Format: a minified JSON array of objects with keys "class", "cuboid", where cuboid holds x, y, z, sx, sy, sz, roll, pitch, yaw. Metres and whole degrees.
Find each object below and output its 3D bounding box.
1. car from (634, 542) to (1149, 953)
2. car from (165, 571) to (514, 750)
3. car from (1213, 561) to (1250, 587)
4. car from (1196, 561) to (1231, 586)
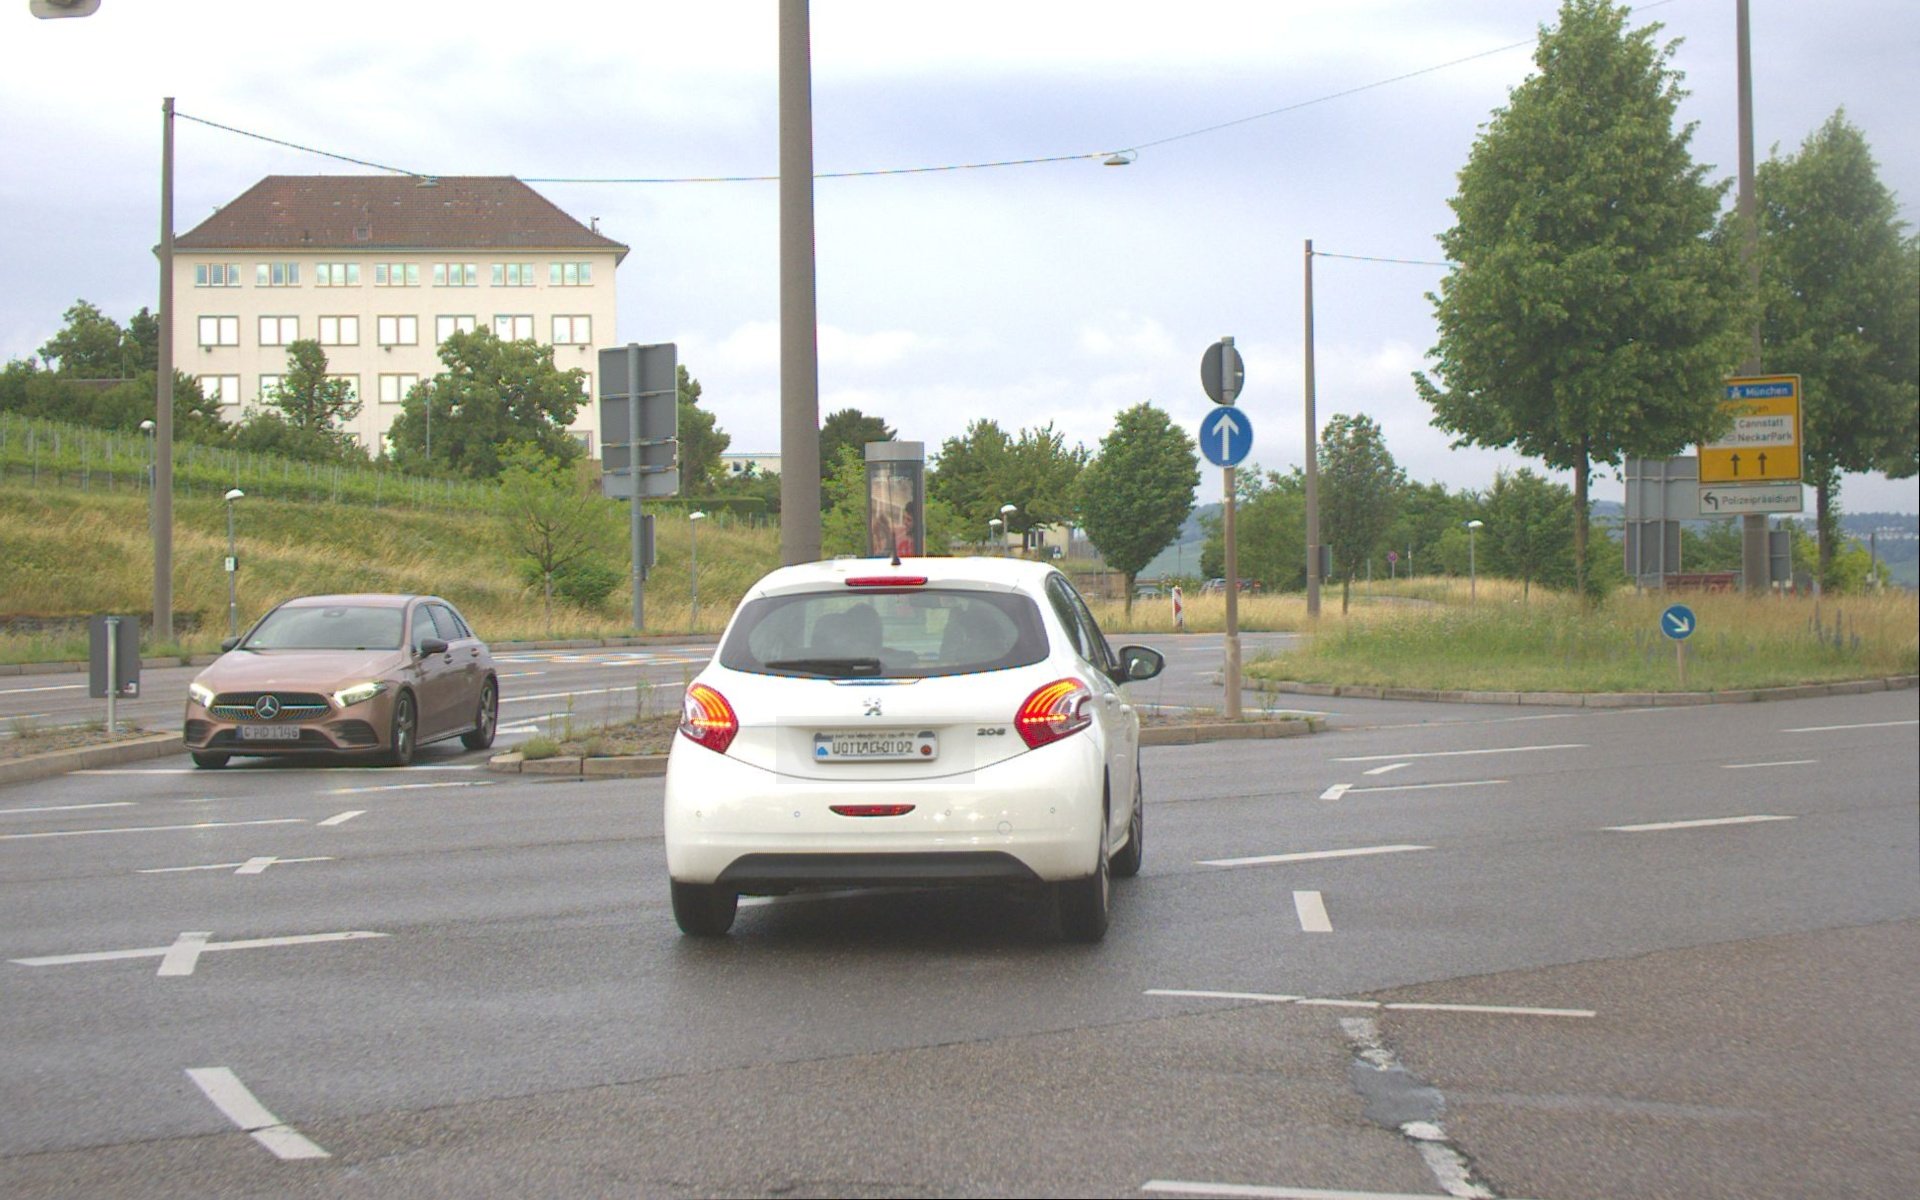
[{"class":"car","cuboid":[-0.147,0.512,14.514,1.718,1.484,3.999,0,1,5]},{"class":"car","cuboid":[-5.270,0.473,29.792,1.776,1.420,4.373,-1,0,6]},{"class":"car","cuboid":[16.058,-1.568,203.622,1.841,1.481,4.000,-1,1,-1]},{"class":"car","cuboid":[15.634,-1.663,212.024,1.841,1.481,4.000,-1,1,-1]}]
